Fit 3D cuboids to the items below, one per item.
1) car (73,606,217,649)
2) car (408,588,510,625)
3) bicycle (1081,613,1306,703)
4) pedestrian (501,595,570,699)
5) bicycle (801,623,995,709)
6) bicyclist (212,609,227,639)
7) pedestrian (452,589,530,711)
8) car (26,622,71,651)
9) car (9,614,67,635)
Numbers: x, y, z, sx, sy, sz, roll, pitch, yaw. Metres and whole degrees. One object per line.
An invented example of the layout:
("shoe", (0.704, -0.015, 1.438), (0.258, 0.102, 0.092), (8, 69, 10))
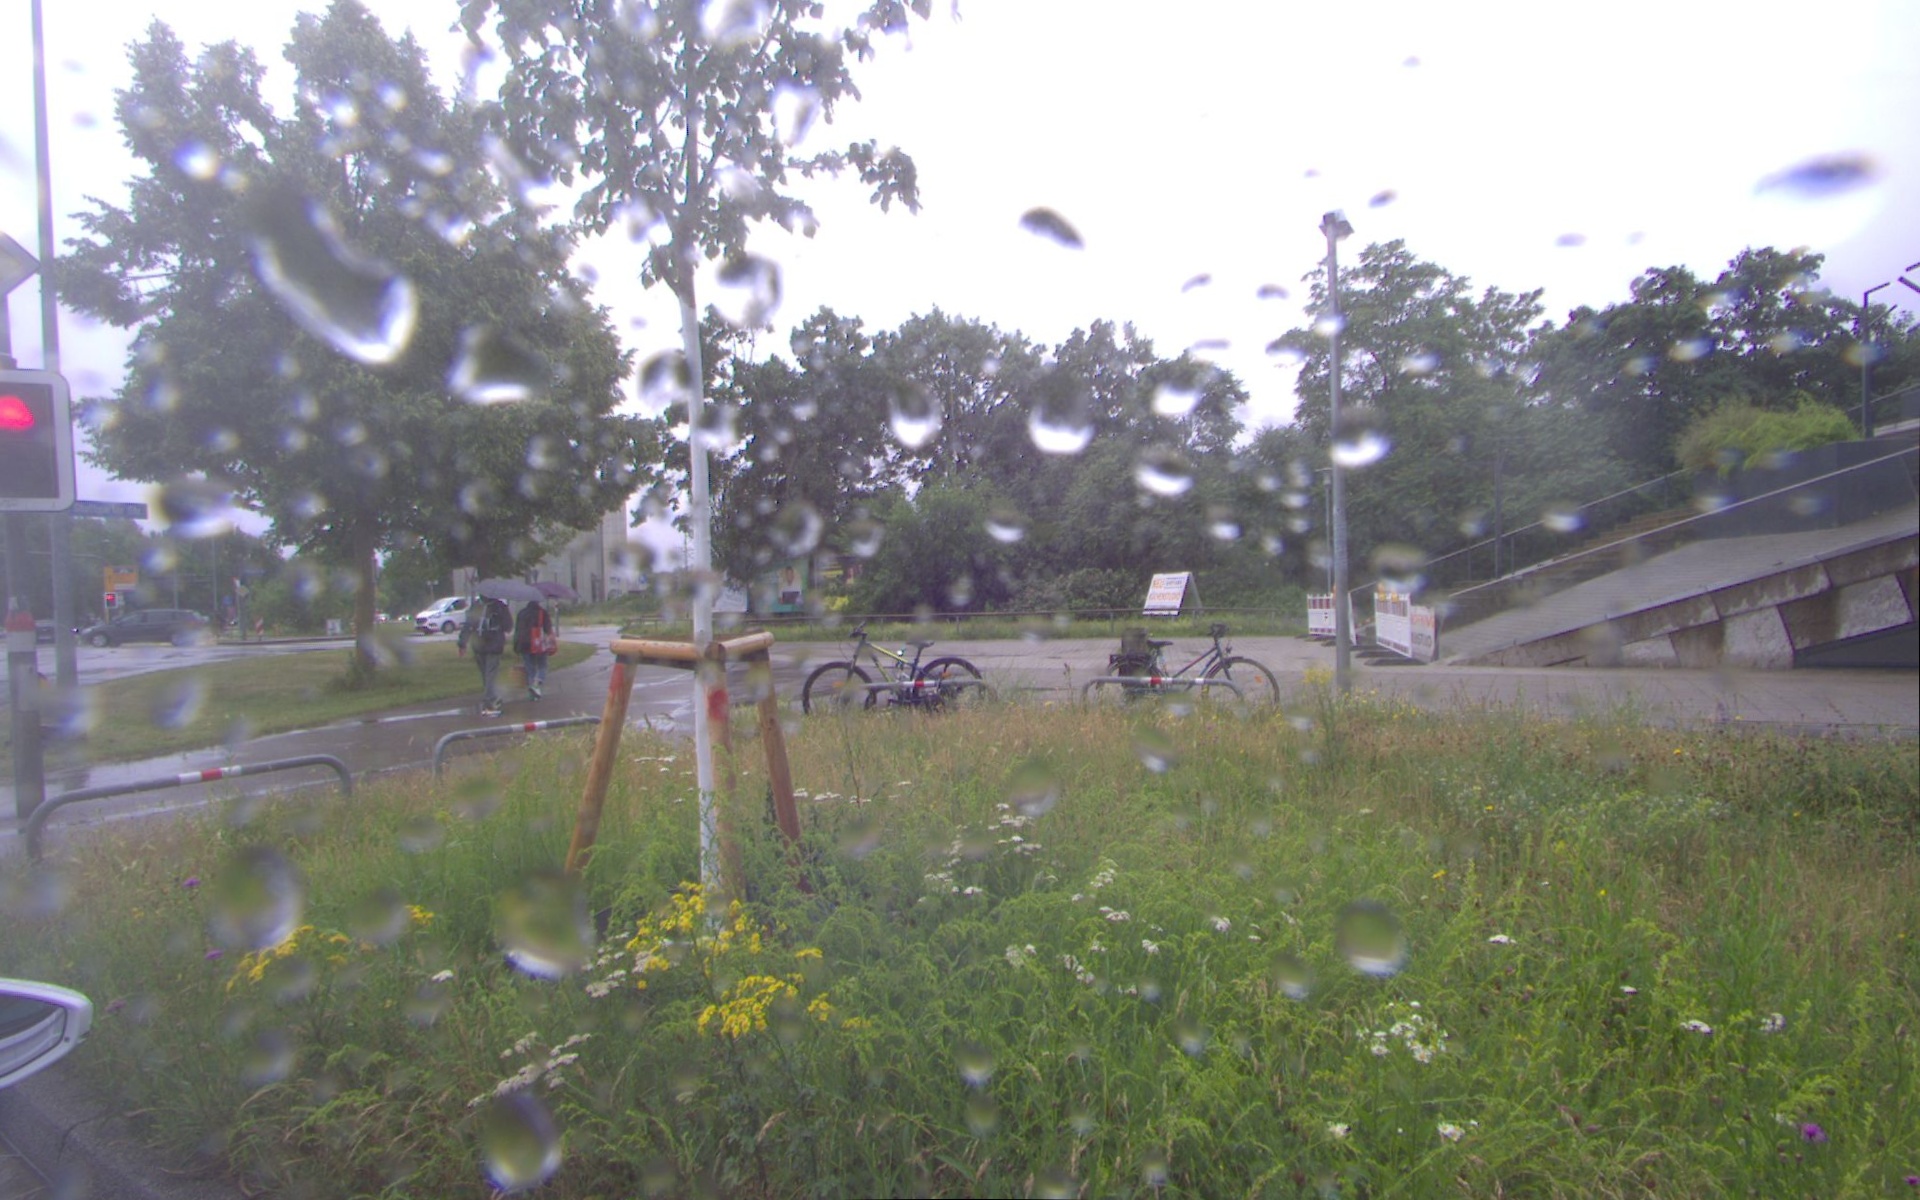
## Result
("car", (-37.110, 1.280, 45.761), (4.702, 1.874, 1.993), (1, -2, -26))
("car", (-27.564, 0.404, 55.274), (1.971, 1.874, 4.754), (-2, -3, 31))
("bicycle", (2.144, 0.538, 9.294), (1.972, 0.796, 0.454), (-1, -2, 16))
("pedestrian", (-6.258, 0.685, 14.774), (0.564, 1.480, 0.679), (-1, 1, 28))
("bicycle", (-0.592, 0.633, 9.667), (1.823, 0.797, 0.380), (0, -2, -2))
("bicyclist", (-44.571, 1.464, 60.293), (0.581, 1.764, 0.495), (-1, -2, 26))
("pedestrian", (-6.119, 0.642, 13.067), (0.730, 1.542, 0.620), (-1, -1, 31))
("car", (-49.875, 1.954, 54.771), (3.947, 1.473, 1.608), (-1, 0, 45))
("car", (-77.057, 2.031, 83.785), (1.770, 1.684, 4.401), (-1, 0, -16))
